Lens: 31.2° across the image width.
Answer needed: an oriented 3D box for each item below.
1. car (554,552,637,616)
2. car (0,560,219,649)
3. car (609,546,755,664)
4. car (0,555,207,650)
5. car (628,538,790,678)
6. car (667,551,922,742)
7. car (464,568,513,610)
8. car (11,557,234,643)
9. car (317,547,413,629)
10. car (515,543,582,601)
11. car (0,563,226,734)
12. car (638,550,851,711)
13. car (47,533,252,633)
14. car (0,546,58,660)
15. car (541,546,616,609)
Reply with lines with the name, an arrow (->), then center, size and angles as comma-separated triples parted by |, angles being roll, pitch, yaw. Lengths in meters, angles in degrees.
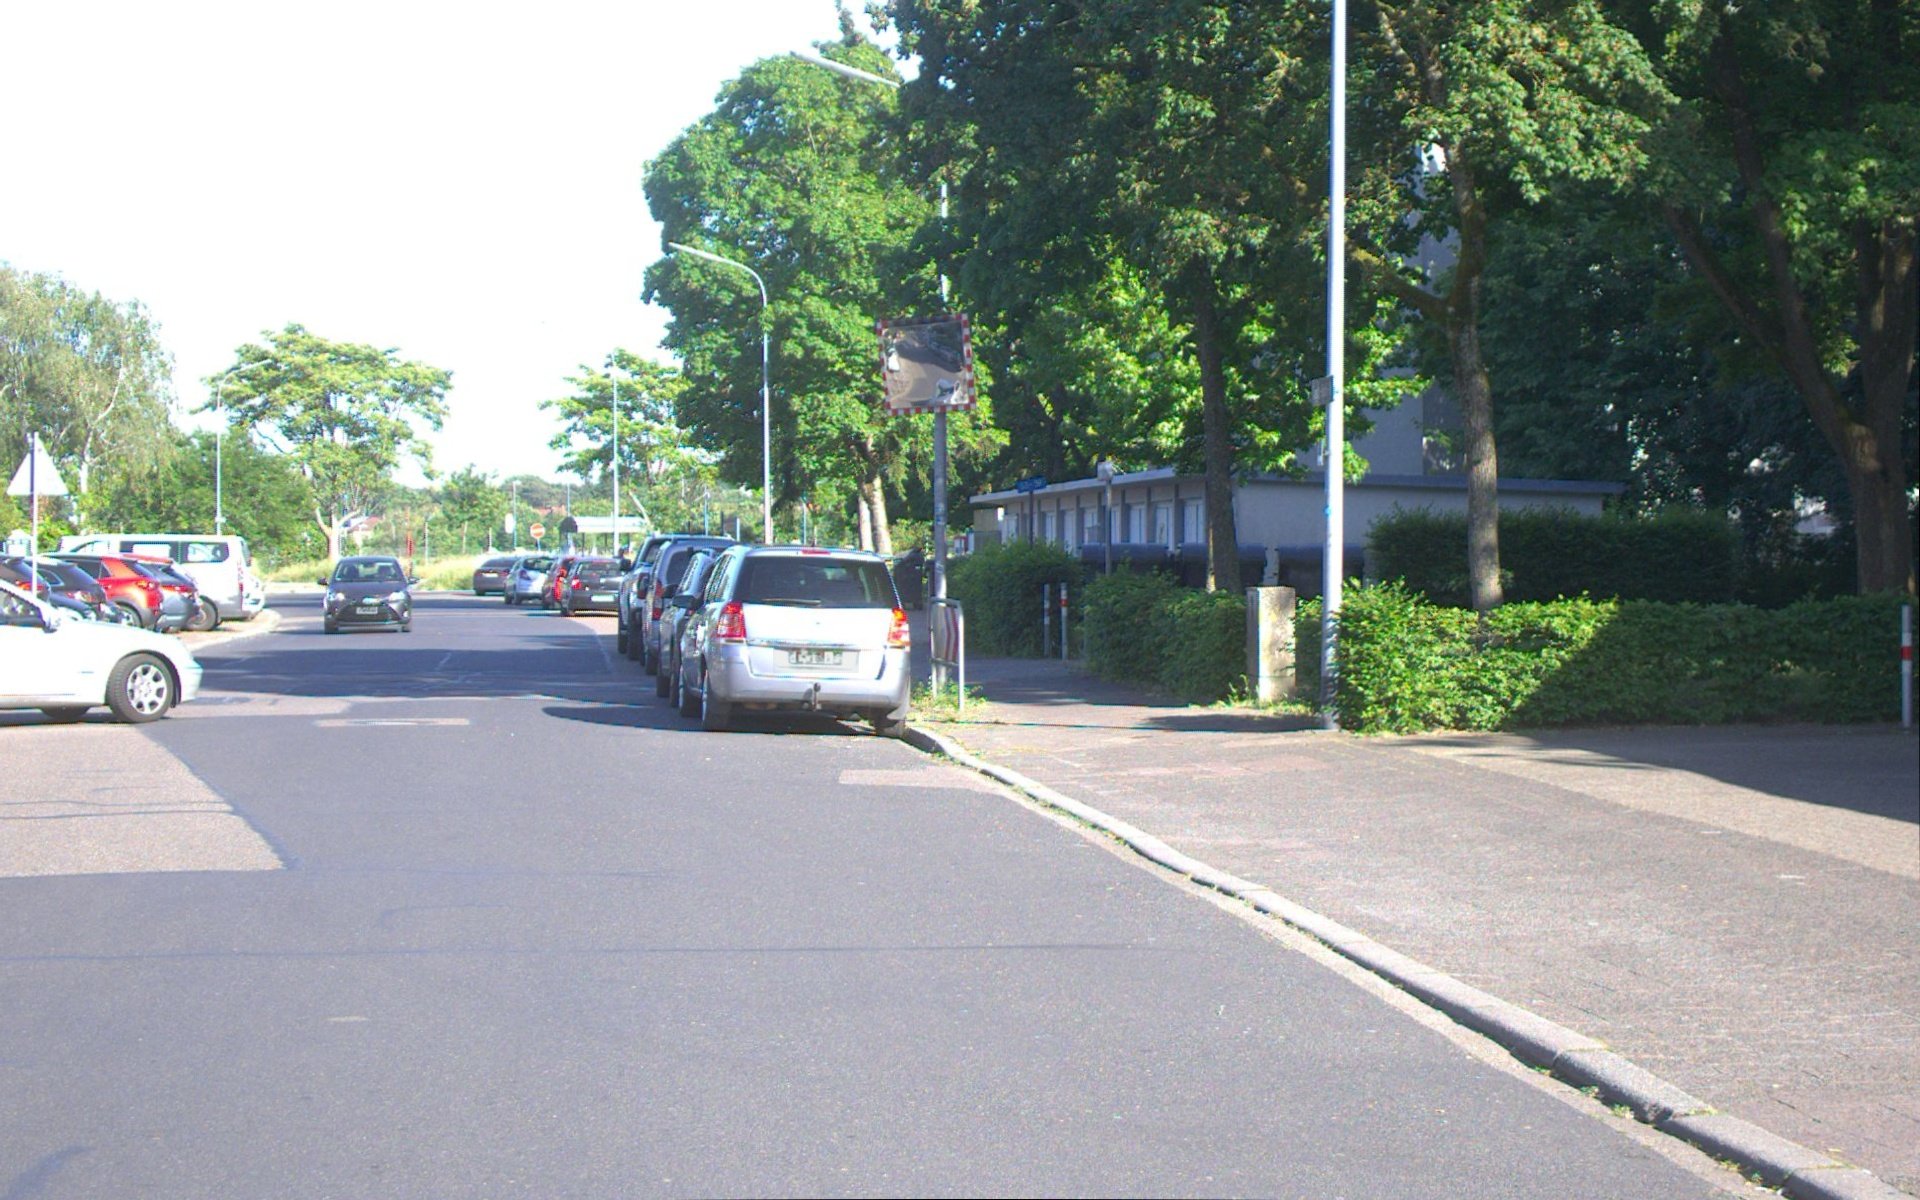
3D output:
car -> -9.031, -0.410, 84.954 | 1.795, 1.543, 3.953 | 1, 1, -9
car -> -15.543, 0.074, 62.408 | 4.053, 1.556, 1.802 | 1, 1, -12
car -> -4.107, 0.046, 50.350 | 1.795, 1.638, 3.953 | 1, 1, -9
car -> -14.887, 0.029, 58.389 | 4.053, 1.556, 1.802 | 1, 1, -12
car -> -3.400, 0.077, 46.027 | 1.795, 1.780, 3.953 | 1, 1, -9
car -> -1.530, 0.358, 30.324 | 1.795, 1.556, 3.953 | 1, 1, -9
car -> -17.756, -0.431, 129.484 | 1.679, 1.508, 4.105 | 2, 1, -9
car -> -15.941, -0.008, 65.614 | 4.053, 1.556, 1.802 | 1, 1, -12
car -> -11.751, -0.250, 68.004 | 1.795, 1.556, 3.953 | 1, 1, -9
car -> -12.240, -0.848, 102.065 | 1.795, 1.638, 3.953 | 1, 1, -9
car -> -8.924, 0.444, 30.337 | 4.387, 1.431, 1.843 | -2, 1, -36
car -> -2.280, 0.274, 35.495 | 1.795, 1.556, 3.953 | 1, 1, -9
car -> -16.669, -0.343, 70.865 | 4.053, 1.985, 1.802 | 1, 1, -12
car -> -14.659, 0.015, 47.664 | 4.053, 1.556, 1.802 | 1, 1, -12
car -> -10.272, -0.614, 92.373 | 1.795, 1.638, 3.953 | 1, 1, -9
